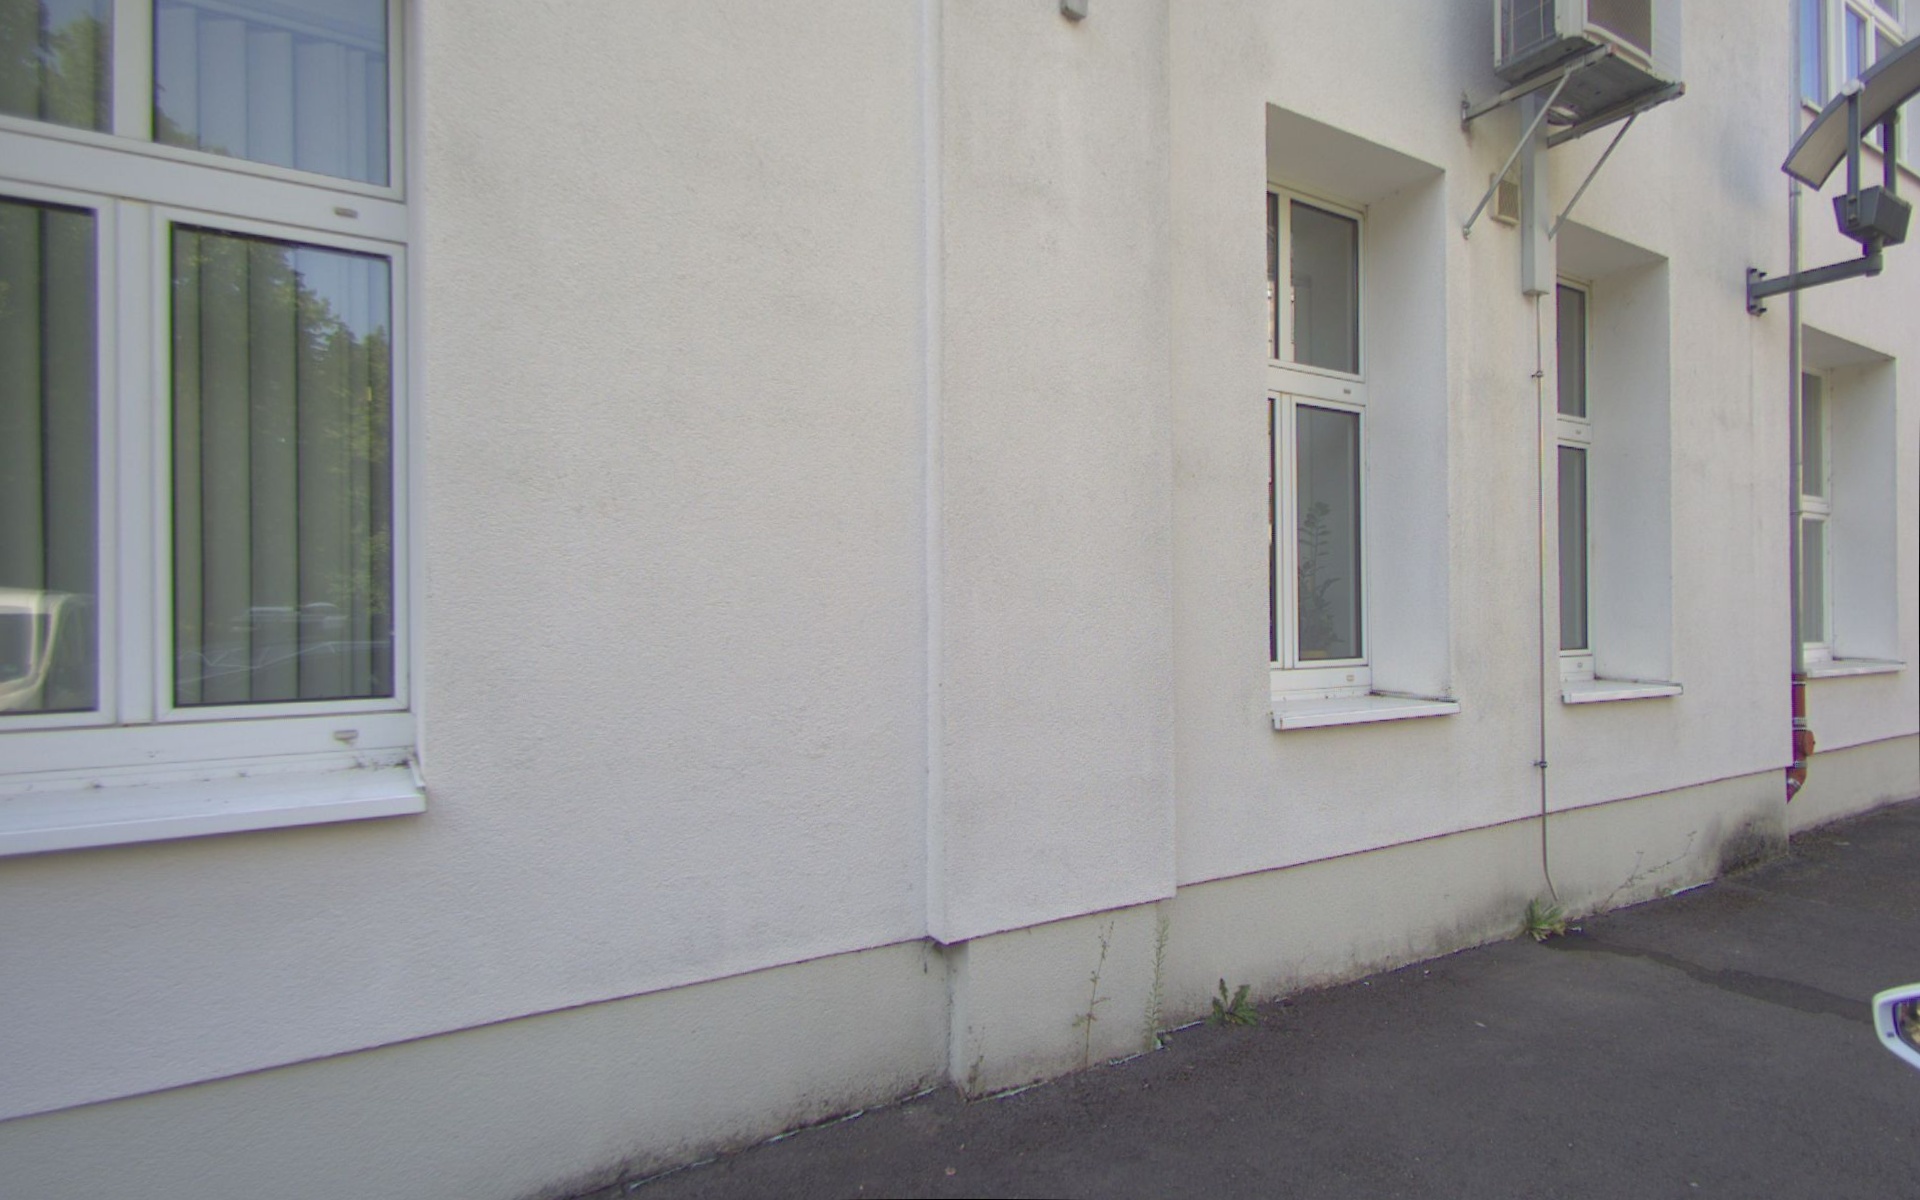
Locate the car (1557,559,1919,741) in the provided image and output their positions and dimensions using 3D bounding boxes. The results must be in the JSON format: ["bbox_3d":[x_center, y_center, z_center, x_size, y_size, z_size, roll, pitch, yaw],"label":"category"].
[{"bbox_3d":[11.164,0.639,13.777,2.032,2.120,4.724,0,-2,-30],"label":"car"}]
